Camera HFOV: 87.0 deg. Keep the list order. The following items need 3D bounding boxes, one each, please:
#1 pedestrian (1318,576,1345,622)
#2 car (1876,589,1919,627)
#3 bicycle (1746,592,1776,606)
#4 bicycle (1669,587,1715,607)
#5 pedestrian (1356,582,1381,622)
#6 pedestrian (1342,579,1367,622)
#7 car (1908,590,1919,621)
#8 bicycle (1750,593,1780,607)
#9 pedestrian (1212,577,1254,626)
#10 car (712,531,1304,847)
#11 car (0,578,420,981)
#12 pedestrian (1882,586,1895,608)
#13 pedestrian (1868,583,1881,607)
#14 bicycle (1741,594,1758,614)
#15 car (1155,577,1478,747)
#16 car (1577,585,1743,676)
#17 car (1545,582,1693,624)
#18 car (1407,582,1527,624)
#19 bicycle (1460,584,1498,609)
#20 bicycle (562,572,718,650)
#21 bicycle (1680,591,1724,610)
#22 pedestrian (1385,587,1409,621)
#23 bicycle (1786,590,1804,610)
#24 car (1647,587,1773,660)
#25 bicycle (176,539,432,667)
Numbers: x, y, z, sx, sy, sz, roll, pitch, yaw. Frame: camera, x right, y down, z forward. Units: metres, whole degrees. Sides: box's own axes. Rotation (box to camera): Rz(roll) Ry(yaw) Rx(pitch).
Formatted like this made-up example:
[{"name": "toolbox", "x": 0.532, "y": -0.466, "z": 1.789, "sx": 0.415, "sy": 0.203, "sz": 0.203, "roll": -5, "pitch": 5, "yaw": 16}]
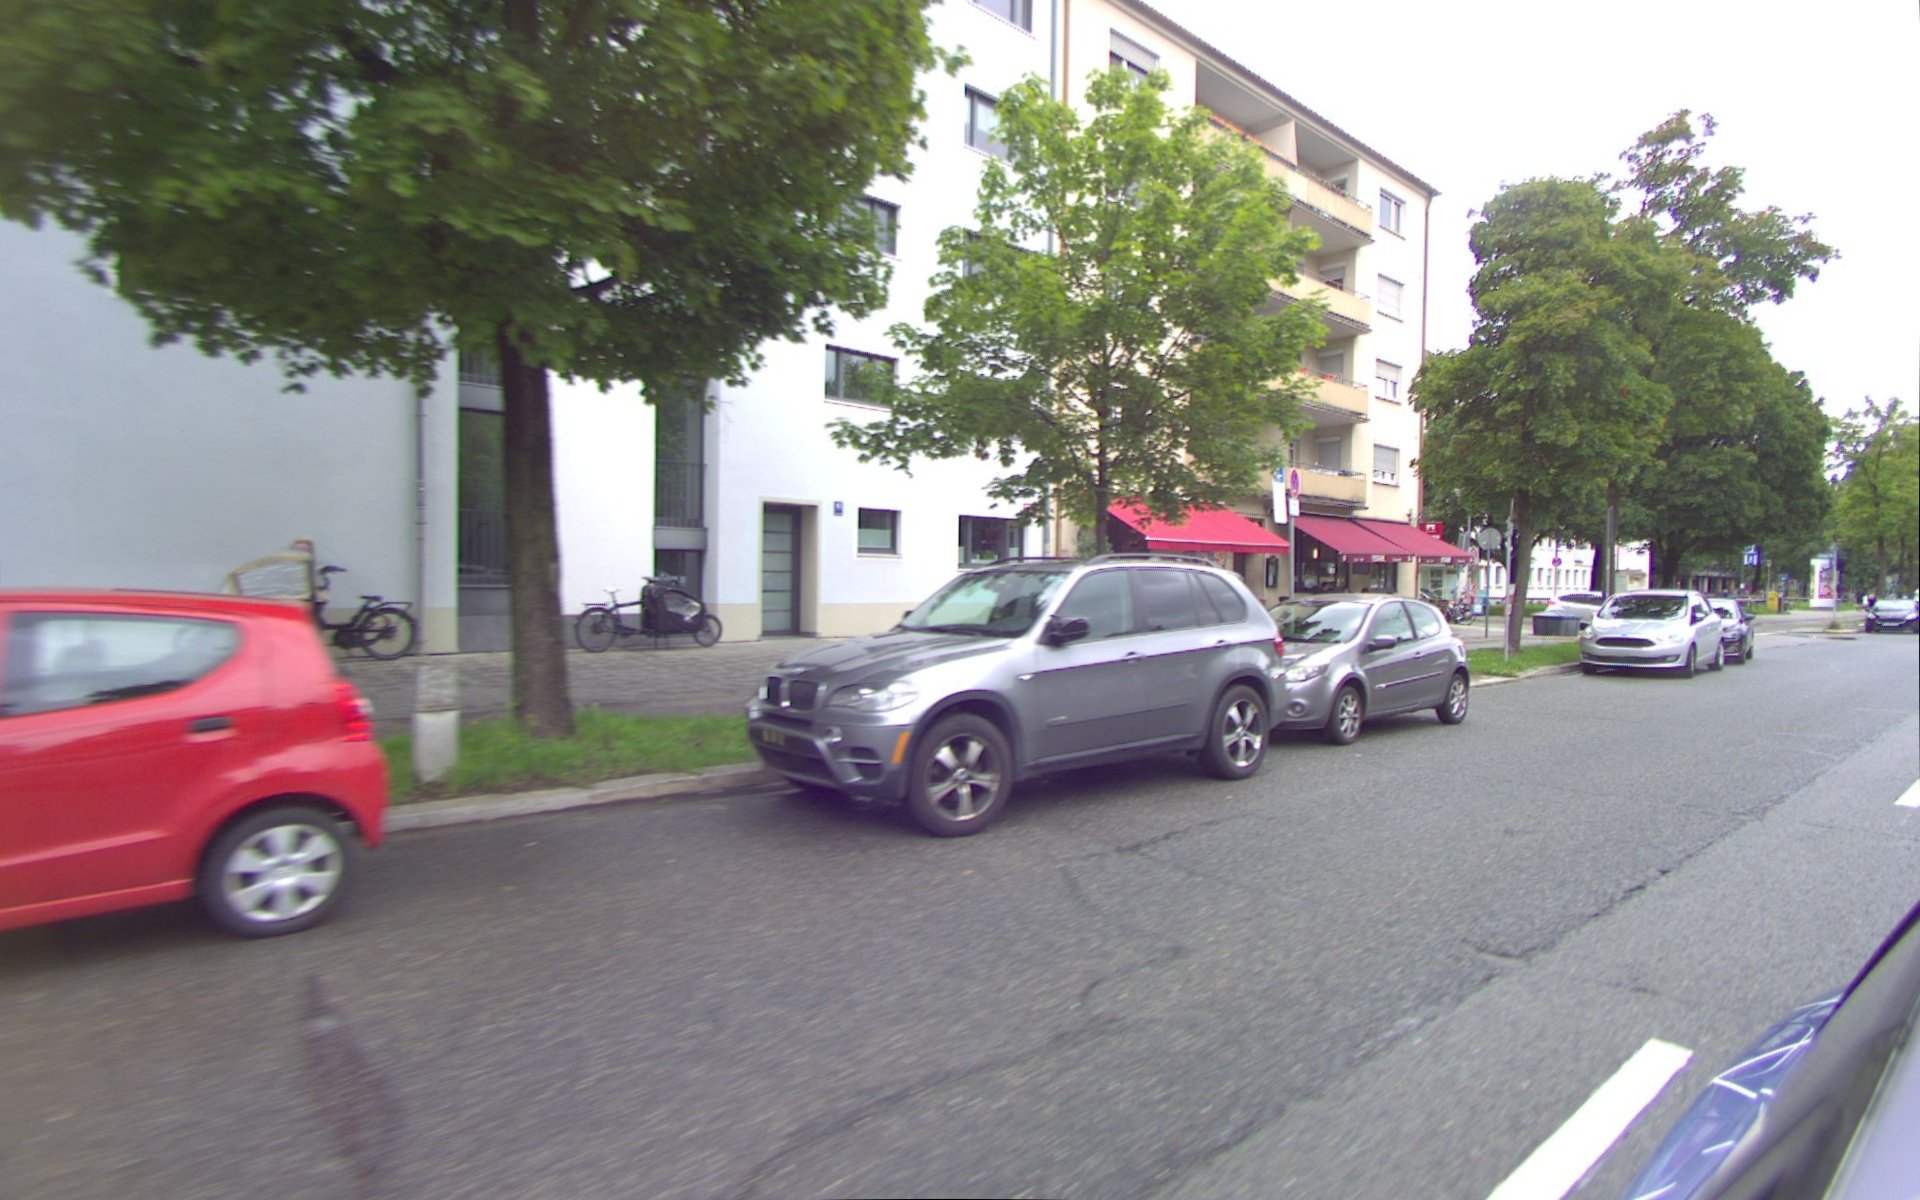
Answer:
[{"name": "pedestrian", "x": 11.005, "y": -0.029, "z": 30.007, "sx": 0.543, "sy": 1.355, "sz": 0.539, "roll": 0, "pitch": 1, "yaw": -42}, {"name": "car", "x": 39.756, "y": 0.336, "z": 42.416, "sx": 3.888, "sy": 1.495, "sz": 1.646, "roll": 0, "pitch": 1, "yaw": -42}, {"name": "bicycle", "x": 55.656, "y": -0.067, "z": 70.297, "sx": 0.490, "sy": 0.927, "sz": 1.596, "roll": 0, "pitch": 1, "yaw": -44}, {"name": "bicycle", "x": 42.051, "y": -0.199, "z": 58.139, "sx": 0.653, "sy": 1.081, "sz": 2.027, "roll": 0, "pitch": 1, "yaw": -44}, {"name": "pedestrian", "x": 12.679, "y": 0.054, "z": 31.383, "sx": 0.478, "sy": 1.229, "sz": 0.539, "roll": 0, "pitch": 1, "yaw": -40}, {"name": "pedestrian", "x": 11.966, "y": -0.004, "z": 30.724, "sx": 0.478, "sy": 1.284, "sz": 0.539, "roll": 0, "pitch": 1, "yaw": -42}, {"name": "car", "x": 47.754, "y": 0.257, "z": 49.338, "sx": 4.212, "sy": 1.455, "sz": 1.824, "roll": 0, "pitch": 0, "yaw": -41}, {"name": "bicycle", "x": 57.212, "y": 0.006, "z": 71.932, "sx": 0.490, "sy": 0.927, "sz": 1.596, "roll": 0, "pitch": 3, "yaw": -44}, {"name": "pedestrian", "x": 6.950, "y": 0.033, "z": 25.773, "sx": 0.635, "sy": 1.177, "sz": 0.745, "roll": 0, "pitch": 3, "yaw": -41}, {"name": "car", "x": 0.559, "y": 0.466, "z": 7.761, "sx": 4.426, "sy": 1.768, "sz": 1.834, "roll": 0, "pitch": 1, "yaw": -39}, {"name": "car", "x": -4.420, "y": 0.644, "z": 3.849, "sx": 3.933, "sy": 1.459, "sz": 1.523, "roll": 0, "pitch": 1, "yaw": -43}, {"name": "pedestrian", "x": 70.715, "y": -0.211, "z": 77.067, "sx": 0.555, "sy": 1.624, "sz": 0.515, "roll": 1, "pitch": 1, "yaw": 30}, {"name": "pedestrian", "x": 70.059, "y": -0.397, "z": 77.548, "sx": 0.555, "sy": 1.777, "sz": 0.651, "roll": 1, "pitch": 1, "yaw": 30}, {"name": "bicycle", "x": 42.603, "y": 0.211, "z": 54.584, "sx": 0.469, "sy": 1.068, "sz": 1.739, "roll": 5, "pitch": 4, "yaw": 45}, {"name": "car", "x": 4.045, "y": 0.546, "z": 11.233, "sx": 3.706, "sy": 1.541, "sz": 1.832, "roll": 0, "pitch": 1, "yaw": -42}, {"name": "car", "x": 13.748, "y": 0.506, "z": 19.763, "sx": 4.449, "sy": 1.541, "sz": 1.831, "roll": 0, "pitch": 2, "yaw": -44}, {"name": "car", "x": 24.645, "y": 0.072, "z": 37.993, "sx": 1.959, "sy": 1.460, "sz": 4.229, "roll": 0, "pitch": 1, "yaw": -26}, {"name": "car", "x": 20.295, "y": 0.079, "z": 40.608, "sx": 1.701, "sy": 1.538, "sz": 3.931, "roll": 0, "pitch": 2, "yaw": -42}, {"name": "bicycle", "x": 25.415, "y": -0.183, "z": 49.572, "sx": 0.687, "sy": 1.170, "sz": 1.471, "roll": 0, "pitch": 1, "yaw": -42}, {"name": "bicycle", "x": -4.816, "y": 0.143, "z": 15.317, "sx": 2.157, "sy": 1.059, "sz": 0.623, "roll": 0, "pitch": 5, "yaw": -41}, {"name": "bicycle", "x": 44.186, "y": 0.032, "z": 60.261, "sx": 0.653, "sy": 1.081, "sz": 2.027, "roll": 0, "pitch": 1, "yaw": -44}, {"name": "pedestrian", "x": 13.940, "y": 0.121, "z": 32.266, "sx": 0.478, "sy": 1.067, "sz": 0.539, "roll": 0, "pitch": 1, "yaw": -40}, {"name": "bicycle", "x": 52.289, "y": -0.019, "z": 63.369, "sx": 2.039, "sy": 1.203, "sz": 0.545, "roll": 0, "pitch": 1, "yaw": -40}, {"name": "car", "x": 17.312, "y": 0.474, "z": 23.304, "sx": 1.830, "sy": 1.491, "sz": 3.826, "roll": 2, "pitch": 2, "yaw": 44}, {"name": "bicycle", "x": -7.961, "y": 0.016, "z": 12.385, "sx": 2.547, "sy": 1.424, "sz": 0.704, "roll": 0, "pitch": 3, "yaw": -41}]
